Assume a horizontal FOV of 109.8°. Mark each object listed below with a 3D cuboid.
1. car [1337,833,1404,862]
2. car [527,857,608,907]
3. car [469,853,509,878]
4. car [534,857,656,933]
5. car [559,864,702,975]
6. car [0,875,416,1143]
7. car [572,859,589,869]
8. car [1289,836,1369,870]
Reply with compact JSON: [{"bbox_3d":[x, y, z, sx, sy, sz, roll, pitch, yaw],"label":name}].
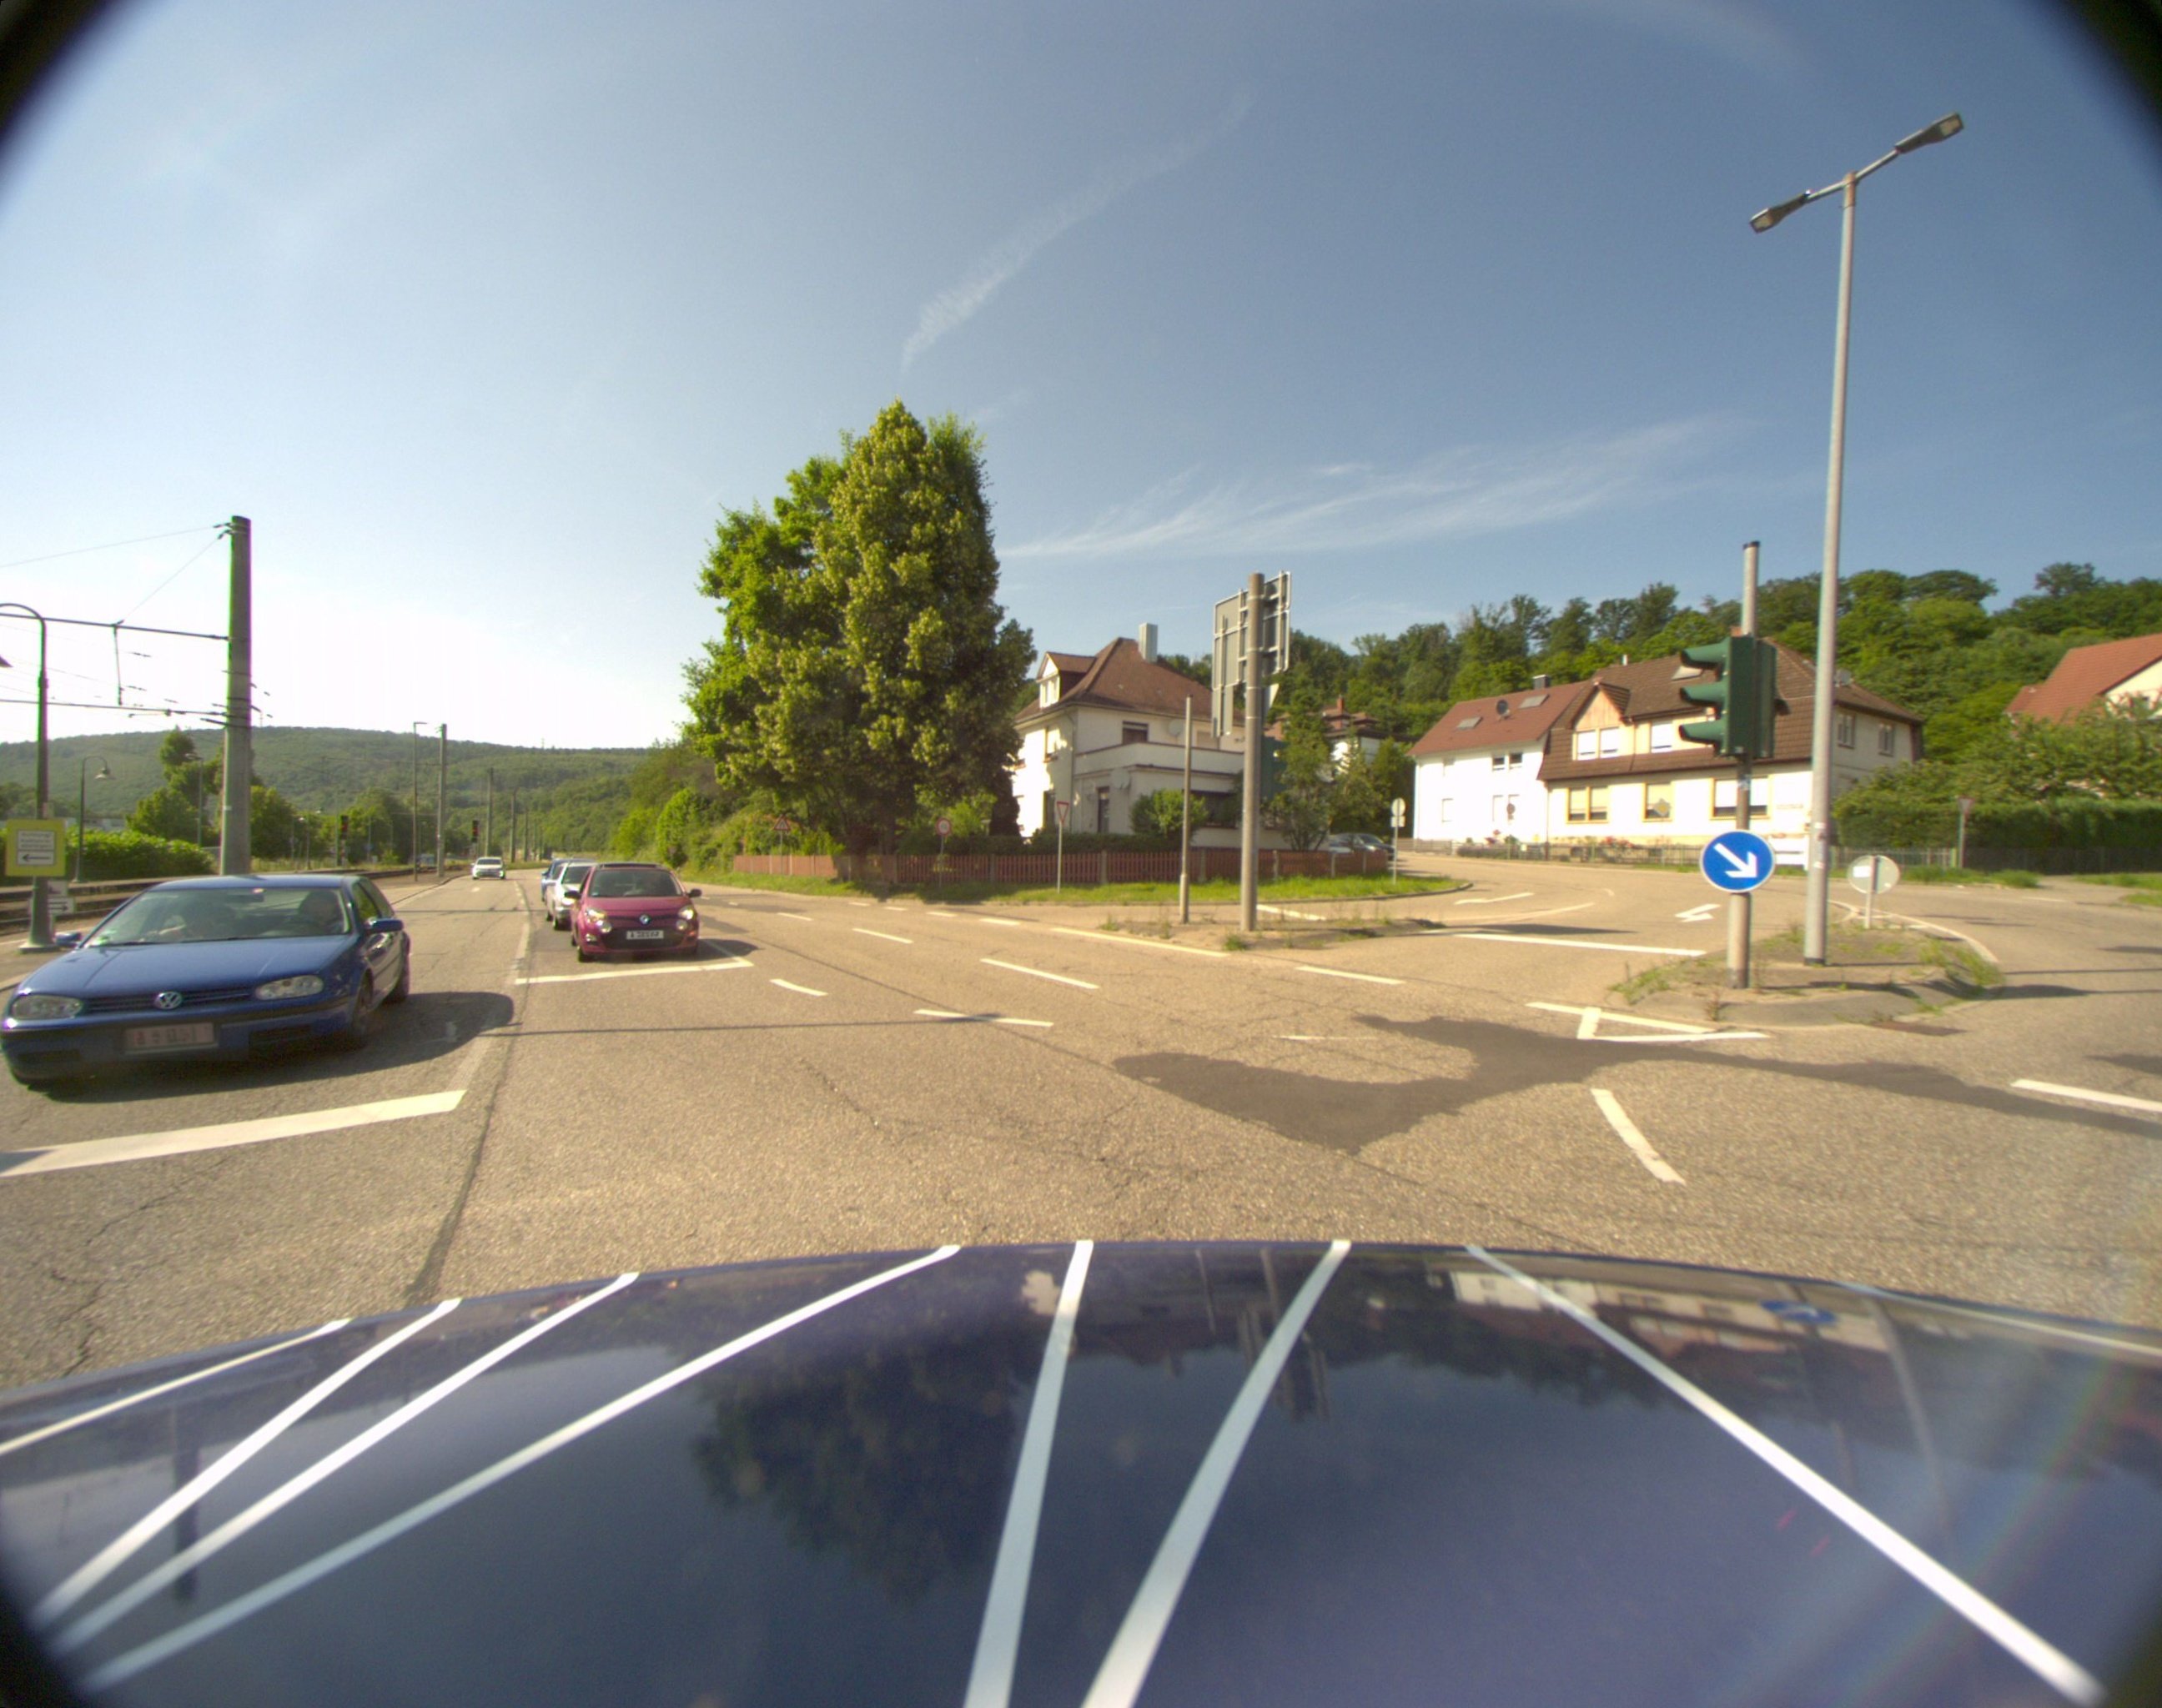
[{"bbox_3d":[16.226,-0.344,42.869,1.999,1.499,3.999,-2,0,-4],"label":"car"},{"bbox_3d":[-17.134,0.890,25.281,1.984,1.495,3.976,-1,0,-37],"label":"car"},{"bbox_3d":[-39.261,0.755,50.446,2.004,1.576,3.989,-2,1,-37],"label":"car"},{"bbox_3d":[-11.441,0.876,17.723,1.984,1.495,4.738,-1,0,-37],"label":"car"},{"bbox_3d":[-7.594,0.930,12.633,1.665,1.525,3.944,0,0,-36],"label":"car"},{"bbox_3d":[-7.242,0.982,6.554,1.870,1.474,4.290,0,0,-36],"label":"car"},{"bbox_3d":[-87.260,1.780,132.454,2.004,1.674,3.989,-2,0,-40],"label":"car"},{"bbox_3d":[12.817,-0.048,39.542,1.942,1.627,3.994,-2,0,-19],"label":"car"}]
